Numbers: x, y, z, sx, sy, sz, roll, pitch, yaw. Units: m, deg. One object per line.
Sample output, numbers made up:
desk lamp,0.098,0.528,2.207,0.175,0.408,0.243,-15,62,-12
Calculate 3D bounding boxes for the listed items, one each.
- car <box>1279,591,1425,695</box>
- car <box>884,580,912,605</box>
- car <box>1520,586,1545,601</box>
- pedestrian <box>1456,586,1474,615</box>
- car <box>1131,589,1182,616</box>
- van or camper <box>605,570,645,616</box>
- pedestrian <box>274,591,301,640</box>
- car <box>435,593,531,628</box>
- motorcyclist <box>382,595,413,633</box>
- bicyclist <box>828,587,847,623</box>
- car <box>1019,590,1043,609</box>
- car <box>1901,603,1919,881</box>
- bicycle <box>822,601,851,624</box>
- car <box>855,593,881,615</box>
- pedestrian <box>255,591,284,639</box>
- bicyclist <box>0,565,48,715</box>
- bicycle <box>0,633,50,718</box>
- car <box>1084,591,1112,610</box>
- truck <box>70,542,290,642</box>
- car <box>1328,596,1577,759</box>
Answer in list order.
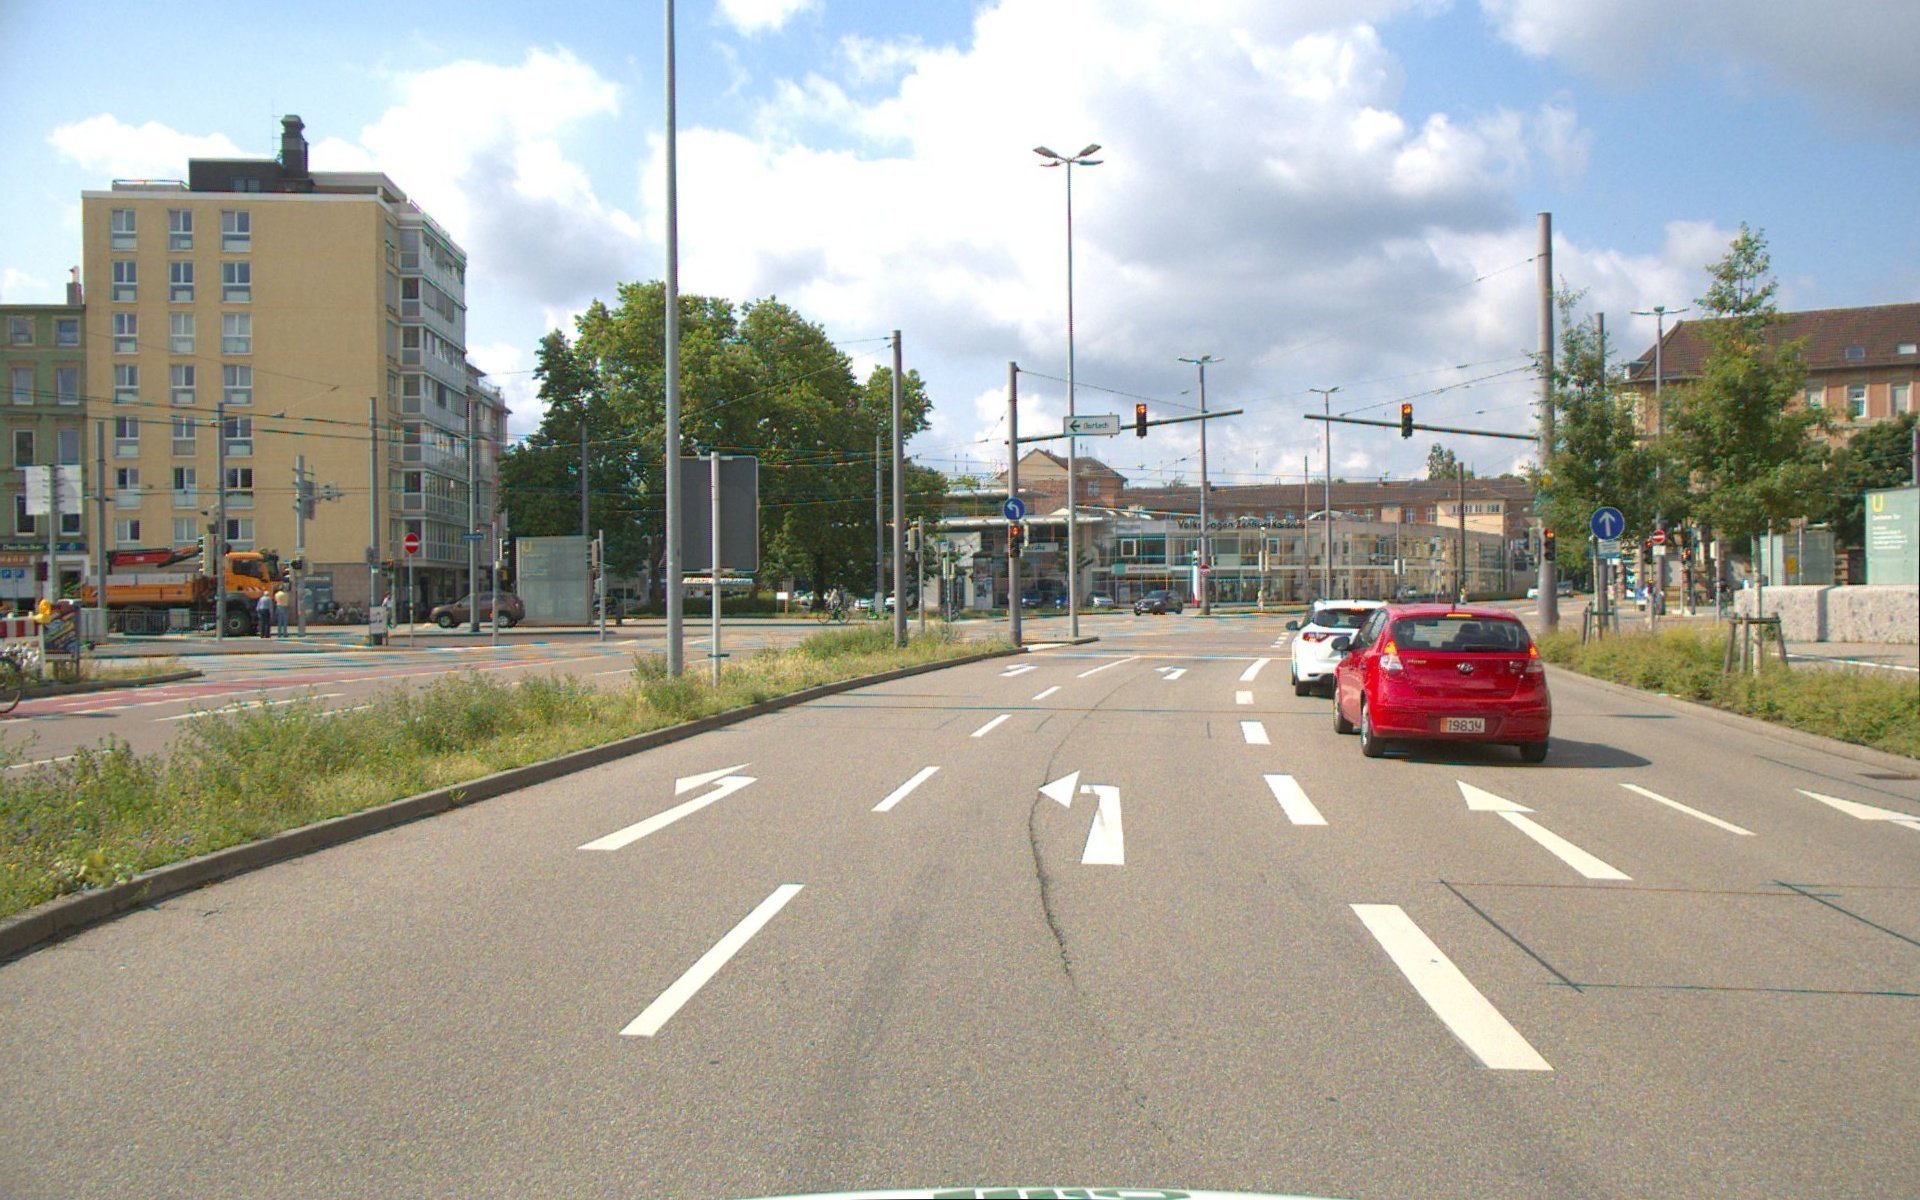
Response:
car,6.142,0.624,26.331,1.808,1.498,4.338,-1,0,8
car,-5.268,-0.657,140.928,1.951,2.049,4.002,-1,0,4
car,57.344,-0.693,165.671,1.954,1.467,3.997,-1,0,26
pedestrian,27.860,0.014,91.182,0.666,1.562,0.667,-1,0,-29
car,11.879,0.117,99.638,1.953,1.557,3.998,-1,0,24
van or camper,-22.414,-0.482,110.487,2.536,2.959,6.080,-1,0,-12
pedestrian,-26.559,0.613,65.314,0.636,1.901,0.782,-1,0,10
car,-22.220,0.476,77.142,3.989,1.534,1.812,-1,0,-6
motorcyclist,-27.333,0.656,80.358,0.868,1.813,1.243,-1,0,14
bicyclist,-6.398,0.258,86.535,0.870,1.903,0.761,-1,0,-12
car,5.913,-0.024,137.851,1.952,1.579,4.080,0,0,3
car,5.899,0.772,7.155,1.767,1.534,4.208,0,0,8
bicycle,-6.443,0.651,86.543,1.439,1.136,0.586,-1,0,-12
car,-7.874,0.331,141.672,1.760,1.800,4.002,-1,0,4
pedestrian,-27.317,0.587,65.444,0.684,1.892,0.820,-1,0,10
bicyclist,-12.204,0.494,20.798,0.794,1.854,1.159,0,0,2
bicycle,-12.215,0.952,20.590,0.603,1.019,2.019,0,0,2
car,11.494,0.038,138.062,1.953,1.624,3.999,0,0,-1
truck,-31.632,-0.335,67.263,7.759,3.923,2.198,-1,0,-5
car,4.968,0.702,17.214,1.778,1.464,4.070,1,0,6
